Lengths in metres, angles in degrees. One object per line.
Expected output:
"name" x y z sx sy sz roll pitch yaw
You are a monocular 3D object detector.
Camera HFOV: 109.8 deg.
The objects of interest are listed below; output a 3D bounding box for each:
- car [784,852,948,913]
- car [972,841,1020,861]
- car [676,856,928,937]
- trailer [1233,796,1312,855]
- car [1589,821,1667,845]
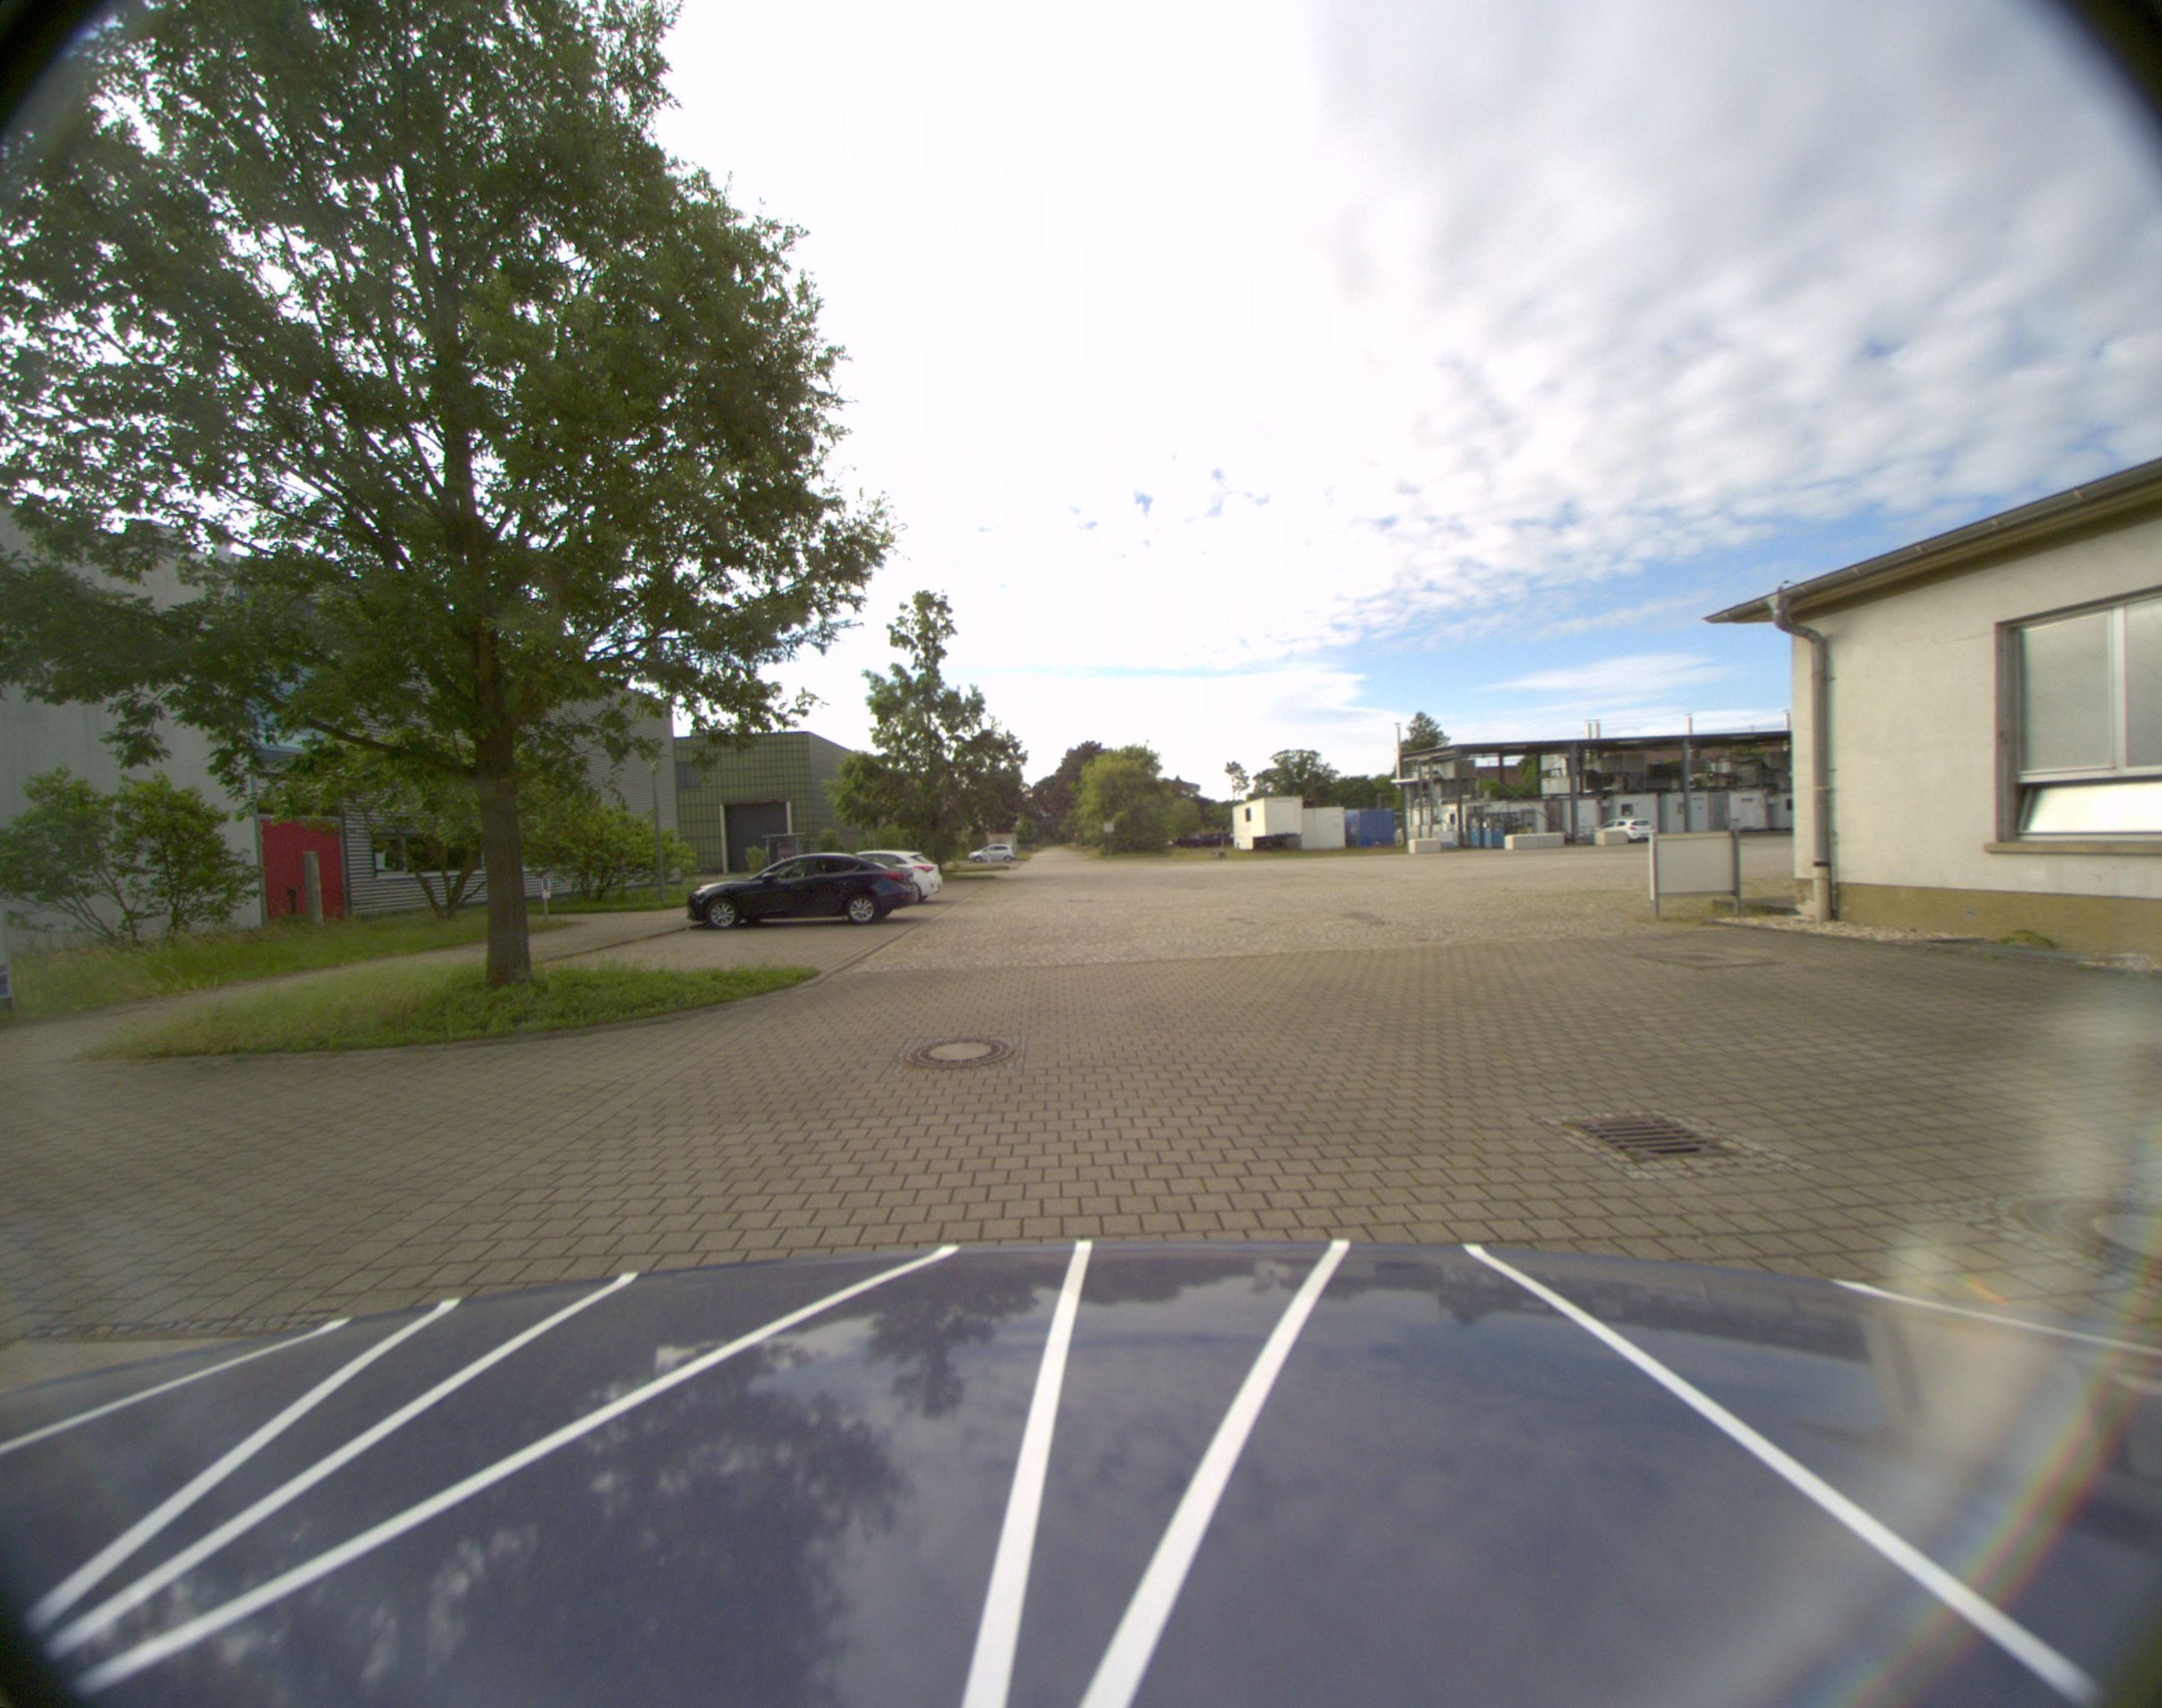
"car" -5.822 0.748 20.970 3.986 1.458 1.882 -2 1 -2
"car" -7.435 -0.273 67.011 4.133 1.615 1.938 -1 2 -4
"car" -5.599 0.825 15.750 4.476 1.439 1.943 -1 1 -2
"trailer" 13.333 -1.904 54.037 2.876 3.641 10.775 -2 1 0
"car" 34.835 -1.328 48.511 1.933 1.464 3.997 -1 1 -4
